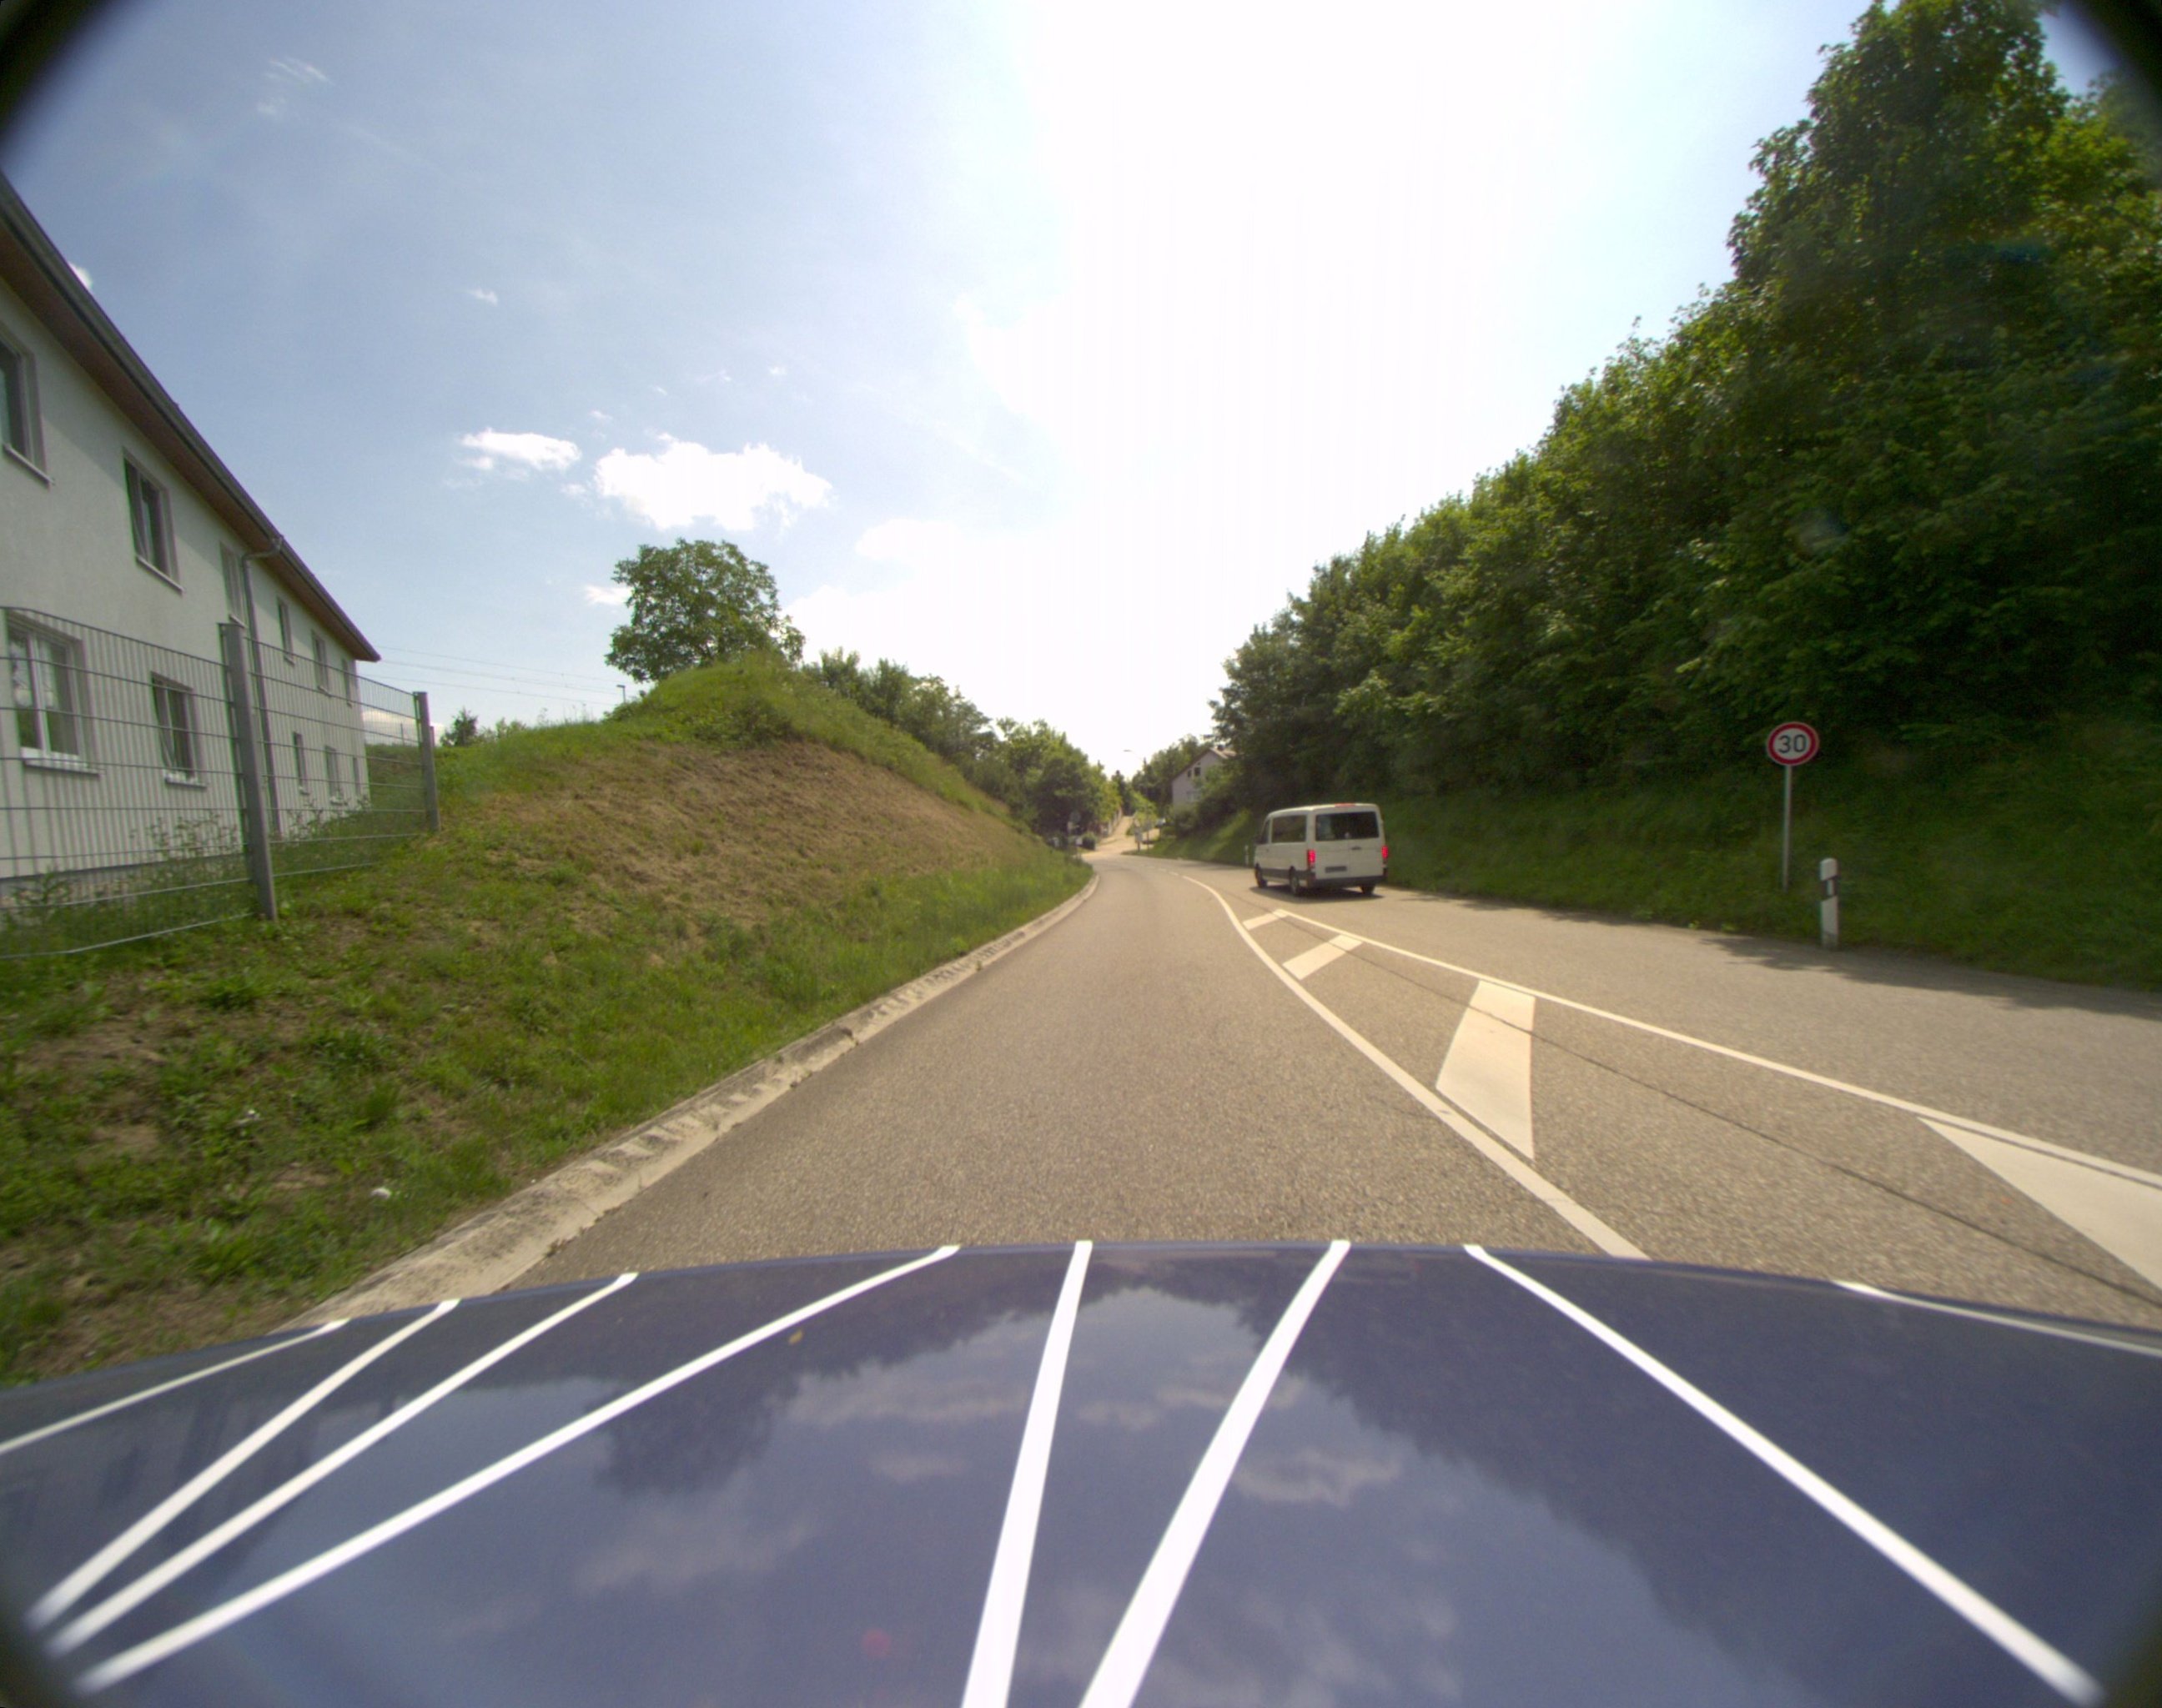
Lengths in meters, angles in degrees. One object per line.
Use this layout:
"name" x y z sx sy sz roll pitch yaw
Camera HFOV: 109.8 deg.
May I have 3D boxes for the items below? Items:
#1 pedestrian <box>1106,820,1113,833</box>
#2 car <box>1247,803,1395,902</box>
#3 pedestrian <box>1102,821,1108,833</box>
"pedestrian" 3.978 -3.831 106.856 0.686 1.703 0.790 -5 4 9
"car" 6.316 -0.071 20.931 2.091 2.277 5.945 -1 1 -1
"pedestrian" 3.357 -3.795 106.700 0.573 1.547 0.599 -5 4 9
